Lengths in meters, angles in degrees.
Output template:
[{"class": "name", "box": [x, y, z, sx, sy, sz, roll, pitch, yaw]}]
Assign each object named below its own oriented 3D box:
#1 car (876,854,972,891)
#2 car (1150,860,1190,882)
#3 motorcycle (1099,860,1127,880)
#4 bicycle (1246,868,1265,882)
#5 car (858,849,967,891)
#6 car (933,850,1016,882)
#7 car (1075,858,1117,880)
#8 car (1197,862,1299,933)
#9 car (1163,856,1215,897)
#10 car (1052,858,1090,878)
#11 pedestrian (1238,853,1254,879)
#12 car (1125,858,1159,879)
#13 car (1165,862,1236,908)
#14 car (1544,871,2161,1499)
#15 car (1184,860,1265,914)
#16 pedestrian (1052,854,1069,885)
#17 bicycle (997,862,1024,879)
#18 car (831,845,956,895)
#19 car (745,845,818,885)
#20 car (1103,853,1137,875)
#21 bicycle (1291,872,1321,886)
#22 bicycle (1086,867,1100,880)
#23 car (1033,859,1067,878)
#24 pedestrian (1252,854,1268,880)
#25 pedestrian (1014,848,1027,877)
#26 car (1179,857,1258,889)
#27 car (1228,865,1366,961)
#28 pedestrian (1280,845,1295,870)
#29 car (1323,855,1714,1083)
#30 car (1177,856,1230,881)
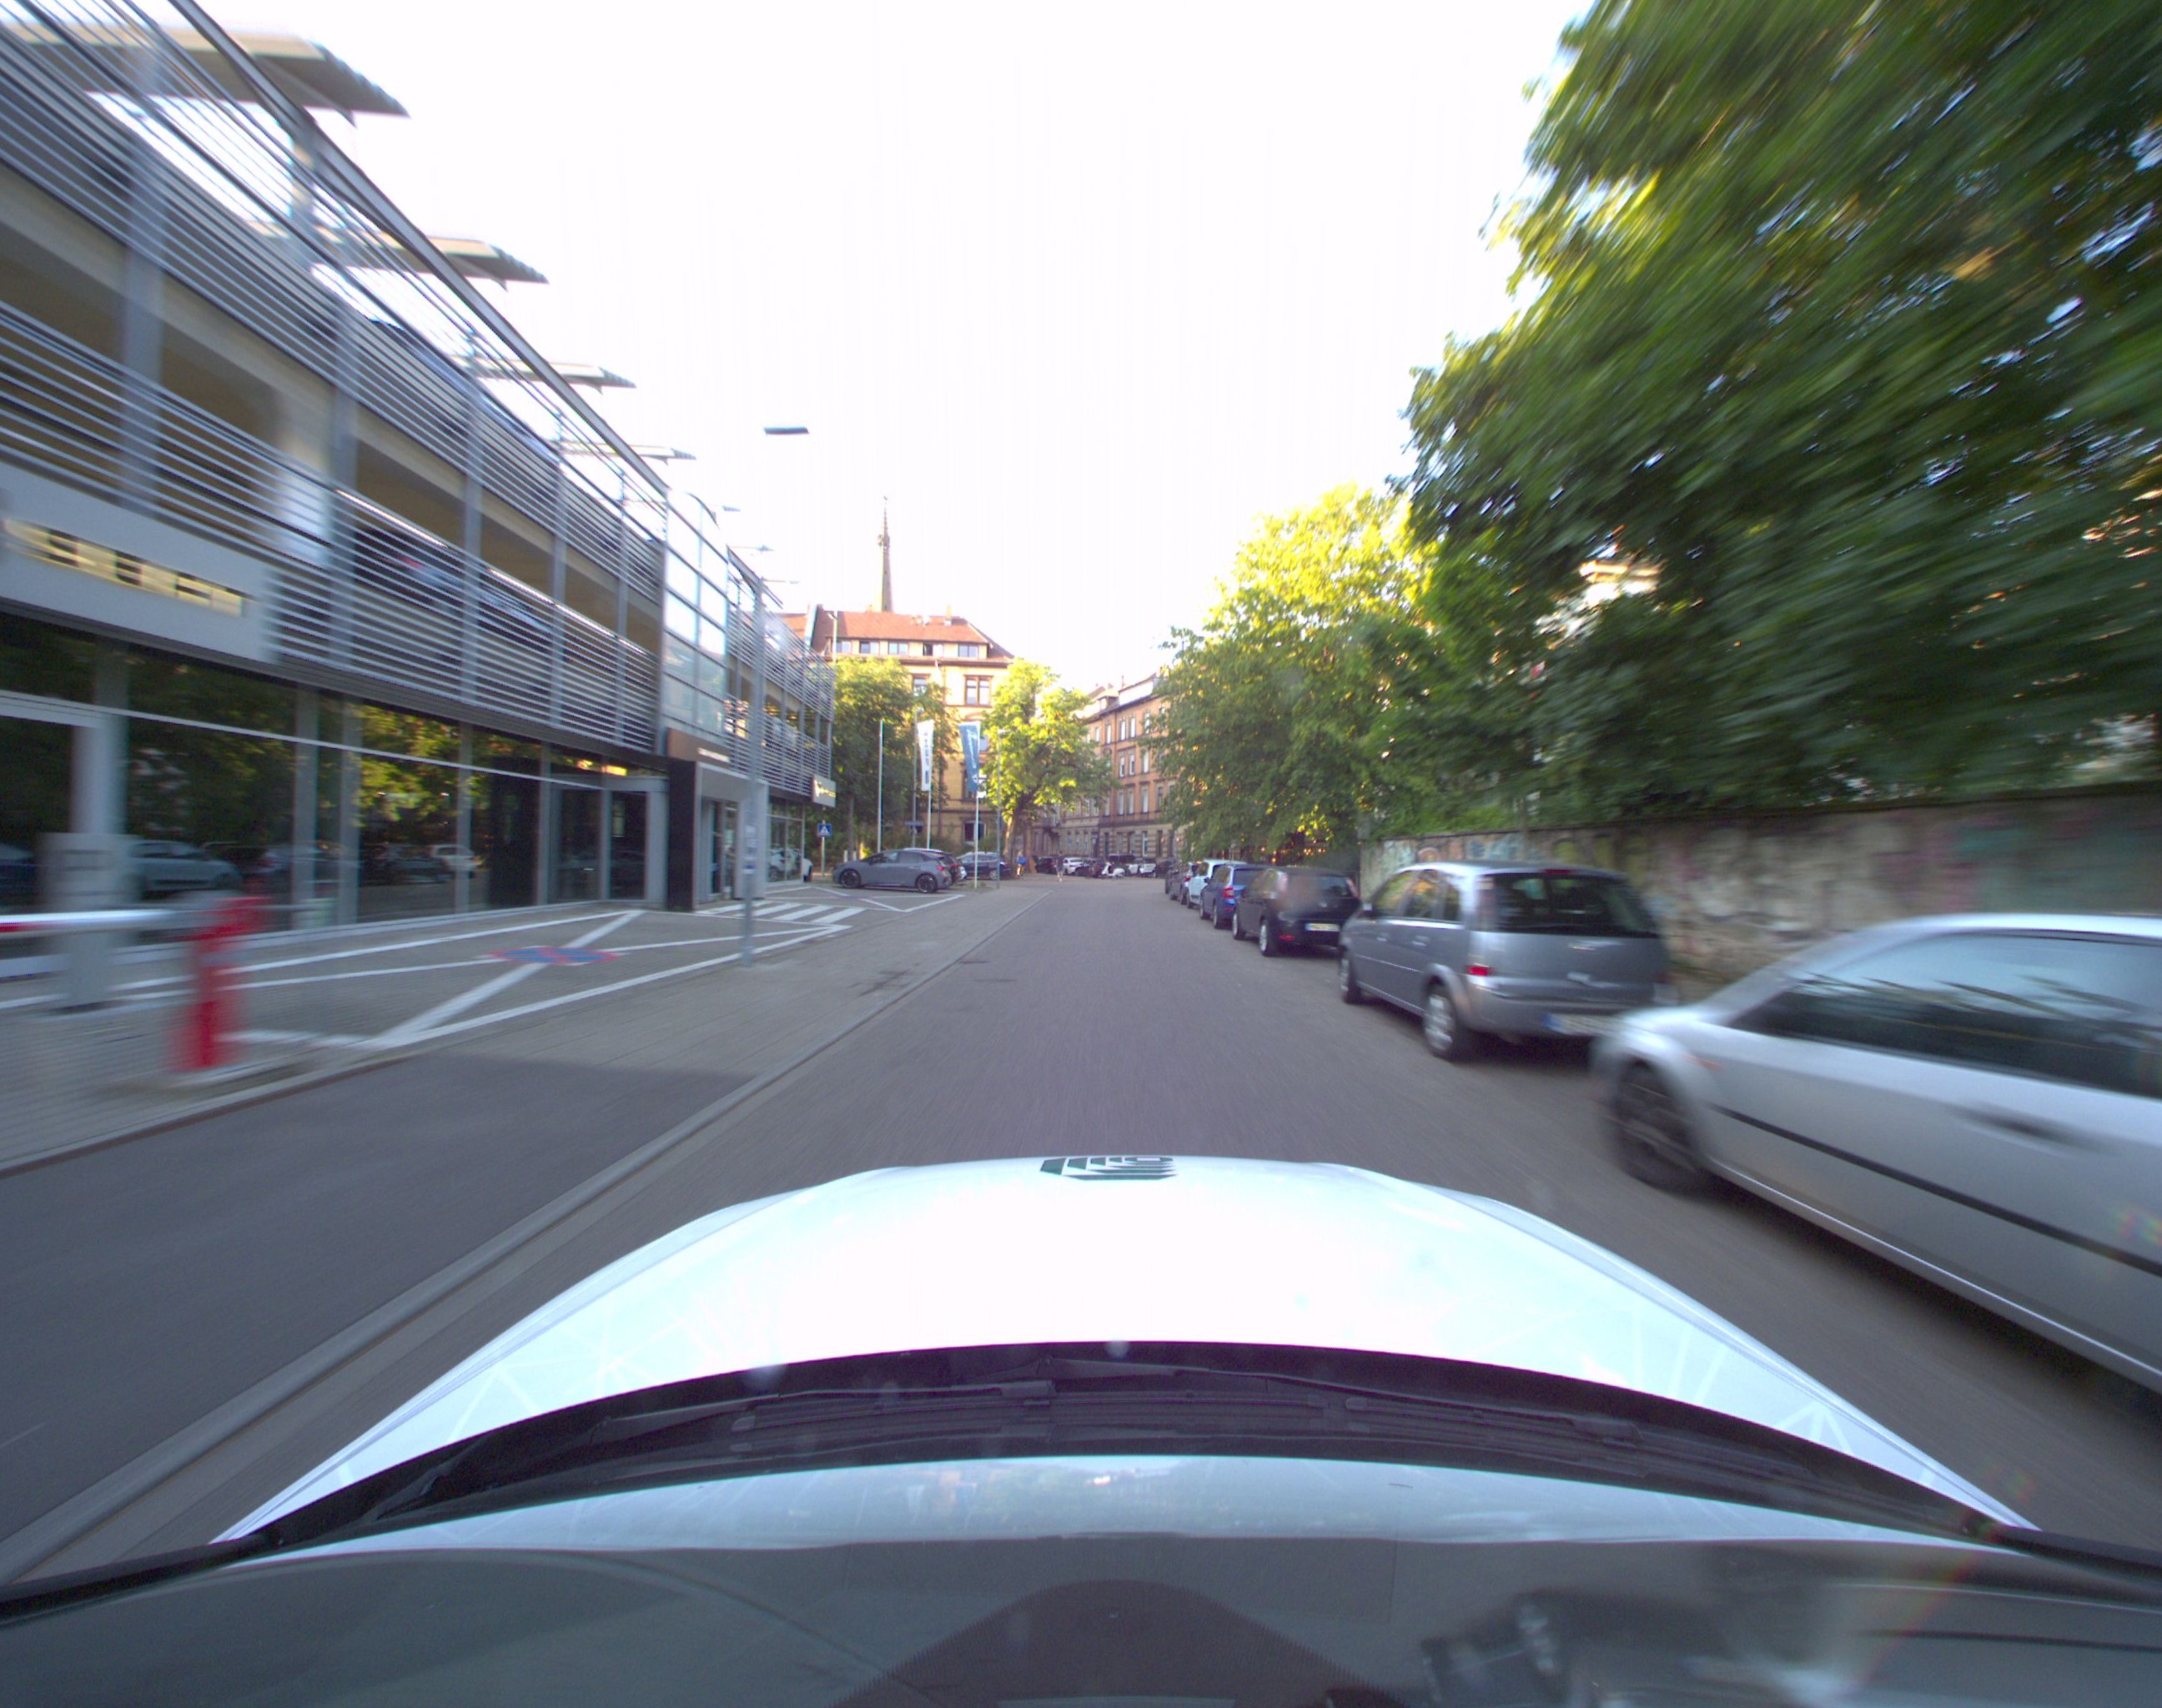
[{"class": "car", "box": [-7.202, 0.831, 37.773, 4.035, 1.475, 1.919, 3, 0, -3]}, {"class": "car", "box": [6.733, 1.291, 61.881, 1.681, 1.525, 3.219, 1, 0, -22]}, {"class": "motorcycle", "box": [2.246, 1.101, 57.132, 1.931, 1.340, 0.575, 1, 0, -9]}, {"class": "bicycle", "box": [12.038, 1.411, 56.063, 0.321, 0.914, 1.349, 1, 0, -40]}, {"class": "car", "box": [-6.844, 0.625, 33.316, 4.054, 1.618, 1.765, 1, 0, -1]}, {"class": "car", "box": [-6.400, 0.687, 49.242, 4.821, 1.732, 1.917, 2, 1, -5]}, {"class": "car", "box": [1.095, 1.078, 60.296, 1.661, 1.431, 3.961, 2, 1, -22]}, {"class": "car", "box": [3.865, 0.940, 19.431, 1.689, 1.477, 4.118, 1, 0, 2]}, {"class": "car", "box": [4.418, 0.903, 33.807, 1.689, 1.571, 3.972, 1, 0, 1]}, {"class": "car", "box": [-0.830, 1.102, 65.088, 1.660, 1.431, 4.139, 2, 1, -20]}, {"class": "pedestrian", "box": [12.064, 0.873, 59.459, 0.843, 1.804, 0.771, 1, 0, -19]}, {"class": "car", "box": [4.903, 1.153, 65.454, 1.681, 1.525, 2.746, 2, 0, -23]}, {"class": "car", "box": [4.127, 1.044, 28.774, 1.691, 1.477, 4.208, 1, 0, -3]}, {"class": "car", "box": [3.537, 0.850, 2.817, 1.753, 1.441, 3.875, 1, 1, 2]}, {"class": "car", "box": [4.195, 0.937, 24.348, 1.690, 1.477, 3.557, 1, 0, -2]}, {"class": "pedestrian", "box": [-1.232, 0.938, 49.668, 0.737, 1.804, 1.115, 1, 0, -19]}, {"class": "bicycle", "box": [-4.492, 1.042, 51.833, 1.678, 1.028, 0.442, 1, 0, -23]}, {"class": "car", "box": [-6.896, 0.572, 30.313, 4.117, 1.618, 1.913, 3, 0, -1]}, {"class": "car", "box": [-12.672, 0.459, 34.711, 1.698, 1.550, 4.218, 1, 0, -3]}, {"class": "car", "box": [3.273, 0.852, 68.950, 1.681, 1.782, 2.992, 2, 0, -22]}, {"class": "bicycle", "box": [15.060, 1.657, 54.620, 1.969, 0.885, 0.399, 1, 0, -12]}, {"class": "bicycle", "box": [0.827, 1.321, 55.044, 0.421, 0.822, 1.470, 1, 0, 24]}, {"class": "car", "box": [-2.649, 1.250, 69.264, 1.661, 1.431, 3.867, 2, 1, -22]}, {"class": "pedestrian", "box": [12.675, 0.899, 57.745, 0.774, 1.804, 0.839, 1, 0, -13]}, {"class": "pedestrian", "box": [-3.914, 0.558, 52.745, 0.813, 1.852, 0.802, 1, 0, -3]}, {"class": "car", "box": [6.895, 0.945, 40.569, 1.858, 1.466, 3.994, 2, 1, 45]}, {"class": "car", "box": [3.776, 0.957, 14.837, 1.591, 1.477, 3.775, 1, 0, 2]}, {"class": "pedestrian", "box": [14.886, 0.251, 58.691, 0.774, 1.804, 0.839, -1, 1, -13]}, {"class": "car", "box": [3.723, 0.840, 7.792, 1.753, 1.604, 3.875, 1, 0, 2]}, {"class": "car", "box": [8.559, 1.009, 57.307, 1.922, 1.525, 3.867, 2, 1, -22]}]
